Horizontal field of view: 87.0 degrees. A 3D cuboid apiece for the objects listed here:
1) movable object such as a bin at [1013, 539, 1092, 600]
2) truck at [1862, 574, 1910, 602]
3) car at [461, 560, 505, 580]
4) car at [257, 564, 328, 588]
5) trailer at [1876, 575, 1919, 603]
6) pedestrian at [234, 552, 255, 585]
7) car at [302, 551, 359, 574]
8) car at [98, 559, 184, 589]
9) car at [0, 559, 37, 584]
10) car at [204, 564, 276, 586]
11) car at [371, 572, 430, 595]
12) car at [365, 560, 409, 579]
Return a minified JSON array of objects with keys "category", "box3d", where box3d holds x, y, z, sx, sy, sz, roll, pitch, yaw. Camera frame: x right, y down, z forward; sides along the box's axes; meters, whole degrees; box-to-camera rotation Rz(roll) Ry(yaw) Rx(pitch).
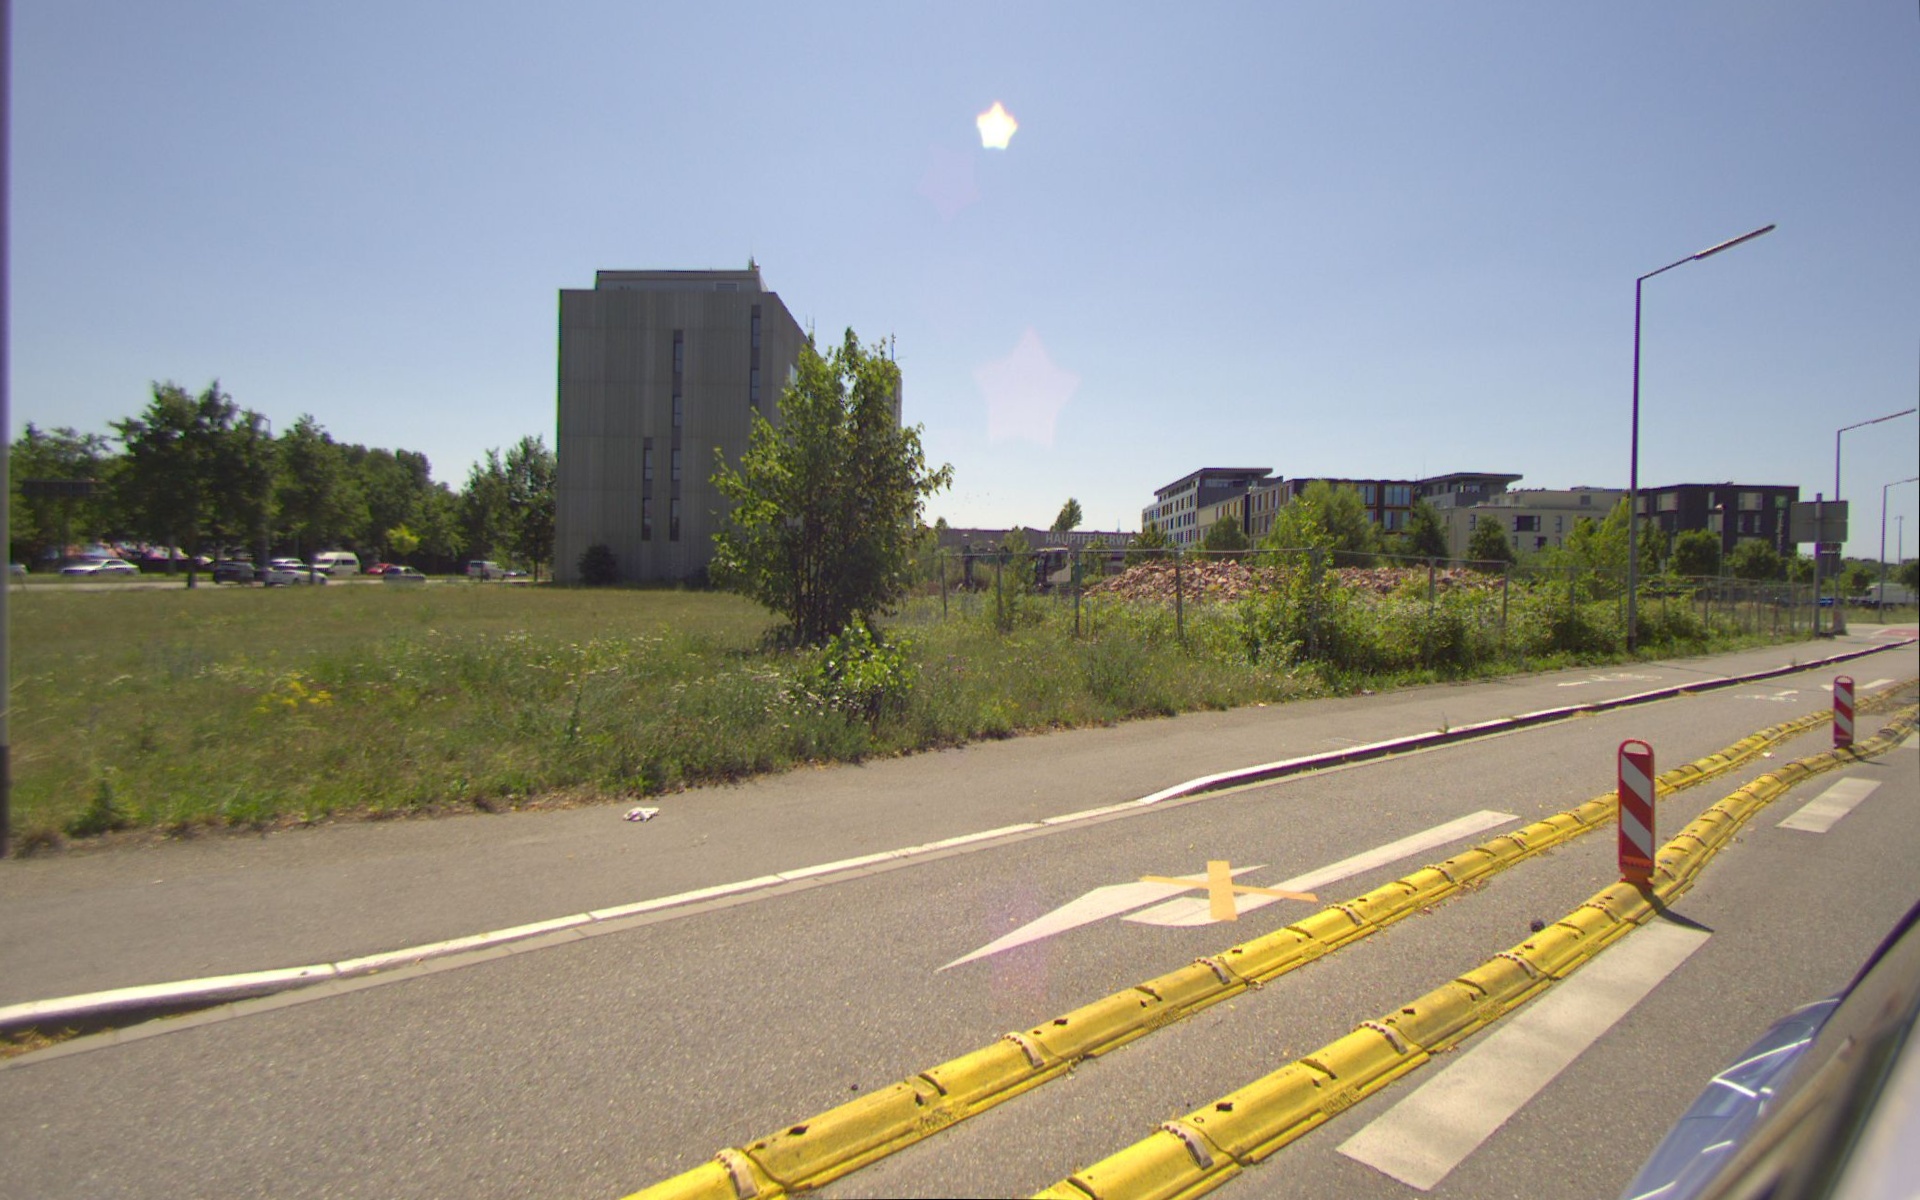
[{"category":"movable object such as a bin","box3d":[4.920,-1.589,53.948,3.619,3.101,2.207,0,1,-35]},{"category":"truck","box3d":[115.851,-1.482,126.701,3.928,3.377,1.998,1,1,4]},{"category":"car","box3d":[-47.766,-3.003,101.433,1.963,1.873,4.985,0,1,2]},{"category":"car","box3d":[-42.500,-1.492,64.512,1.604,1.462,4.015,0,1,6]},{"category":"trailer","box3d":[119.646,-1.362,126.404,8.030,3.390,1.998,1,1,4]},{"category":"pedestrian","box3d":[-33.936,-1.480,47.985,0.489,1.583,0.737,0,0,-1]},{"category":"car","box3d":[-58.260,-3.420,93.760,1.963,2.039,5.083,0,1,2]},{"category":"car","box3d":[-58.464,-1.842,72.392,1.963,2.039,5.083,0,1,2]},{"category":"car","box3d":[-62.015,-1.817,64.500,1.963,1.590,4.779,0,1,2]},{"category":"car","box3d":[-46.677,-1.599,65.705,1.961,1.425,4.001,0,1,-1]},{"category":"car","box3d":[-42.879,-1.280,77.666,1.961,1.727,4.942,0,1,-3]},{"category":"car","box3d":[-60.532,-3.197,106.968,1.963,1.873,4.603,0,1,2]}]
